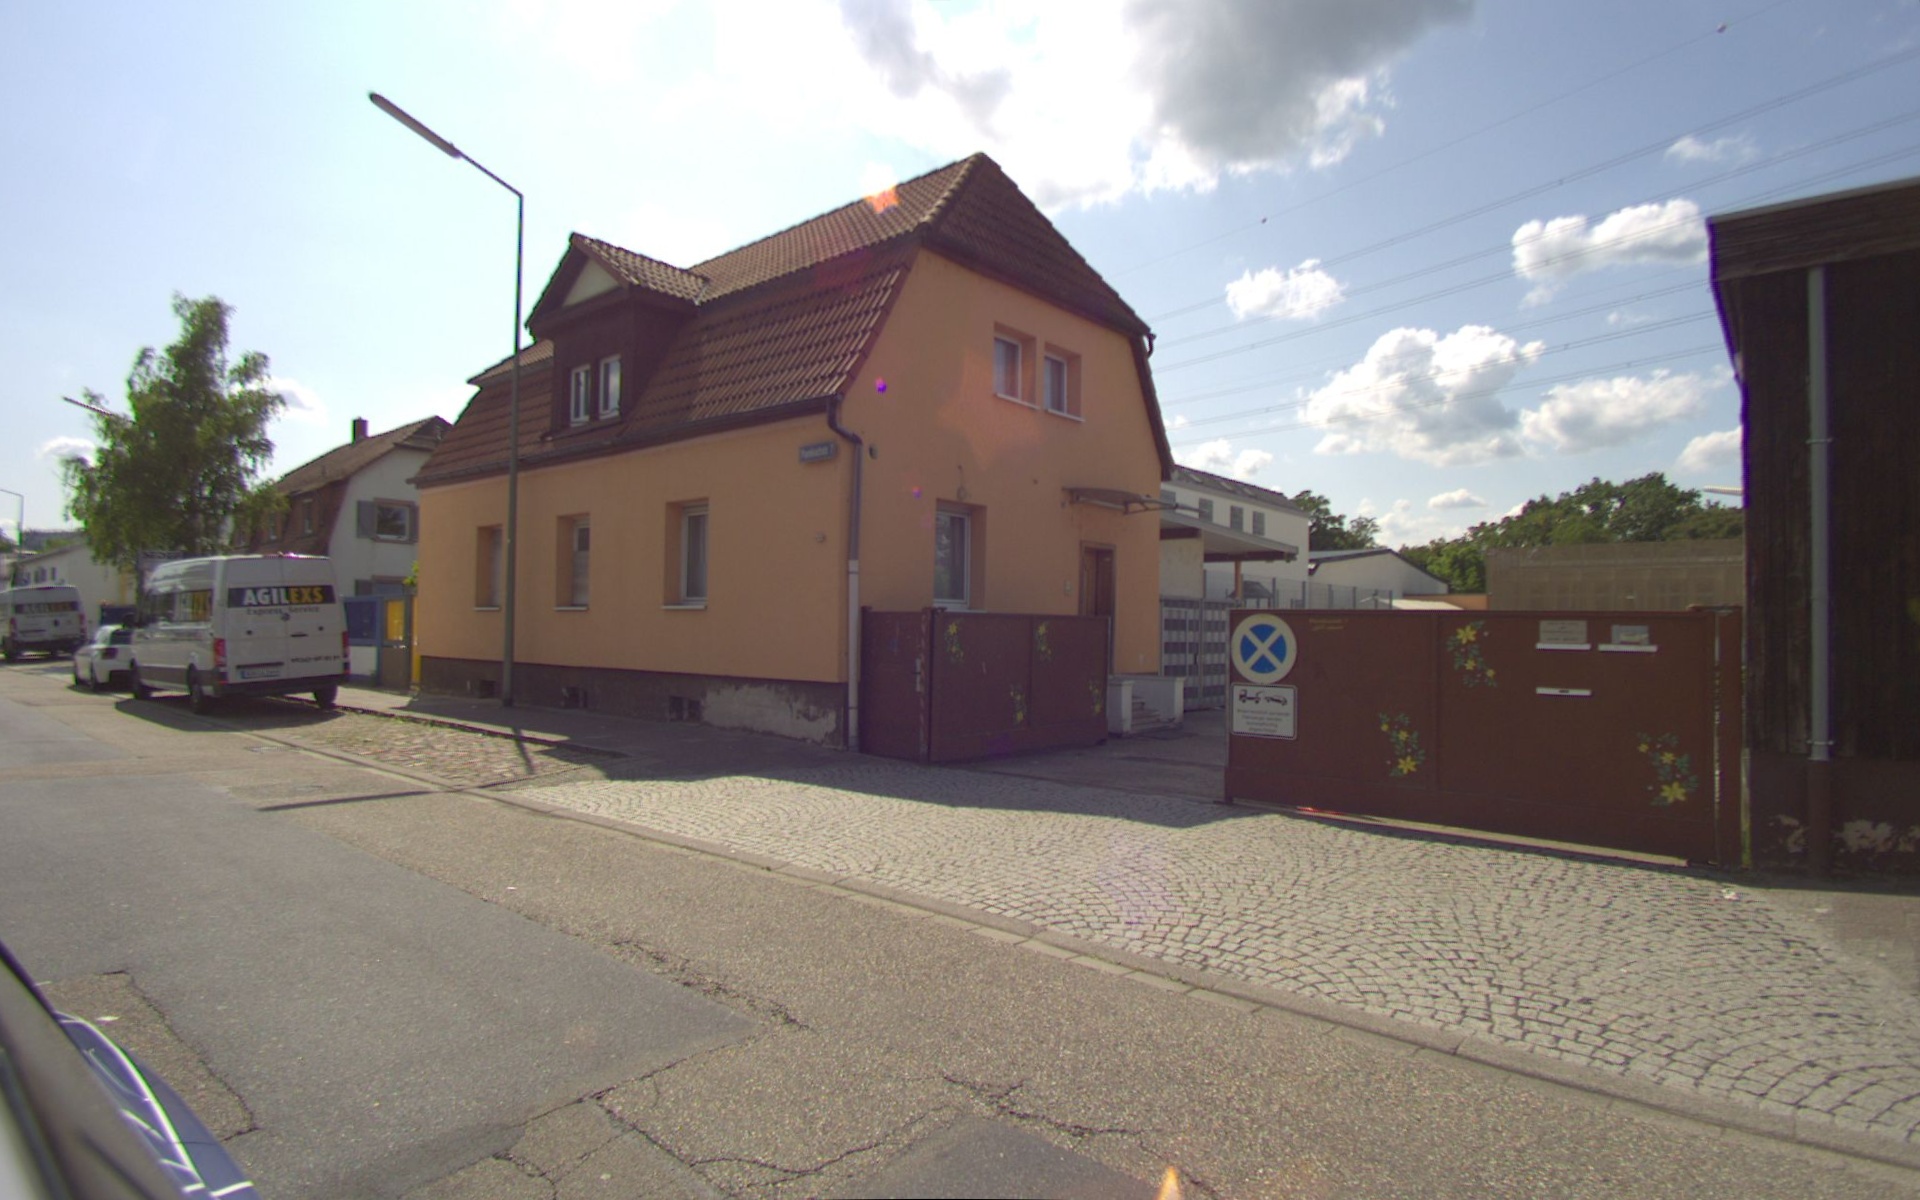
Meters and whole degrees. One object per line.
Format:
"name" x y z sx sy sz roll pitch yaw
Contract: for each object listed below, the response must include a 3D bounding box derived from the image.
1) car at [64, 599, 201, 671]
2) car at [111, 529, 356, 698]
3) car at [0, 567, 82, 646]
"car" -18.816 0.718 22.942 4.501 1.408 1.777 0 1 42
"car" -13.398 0.169 18.424 6.835 2.580 2.006 0 1 40
"car" -33.546 0.178 36.274 6.651 2.576 2.010 0 2 40
